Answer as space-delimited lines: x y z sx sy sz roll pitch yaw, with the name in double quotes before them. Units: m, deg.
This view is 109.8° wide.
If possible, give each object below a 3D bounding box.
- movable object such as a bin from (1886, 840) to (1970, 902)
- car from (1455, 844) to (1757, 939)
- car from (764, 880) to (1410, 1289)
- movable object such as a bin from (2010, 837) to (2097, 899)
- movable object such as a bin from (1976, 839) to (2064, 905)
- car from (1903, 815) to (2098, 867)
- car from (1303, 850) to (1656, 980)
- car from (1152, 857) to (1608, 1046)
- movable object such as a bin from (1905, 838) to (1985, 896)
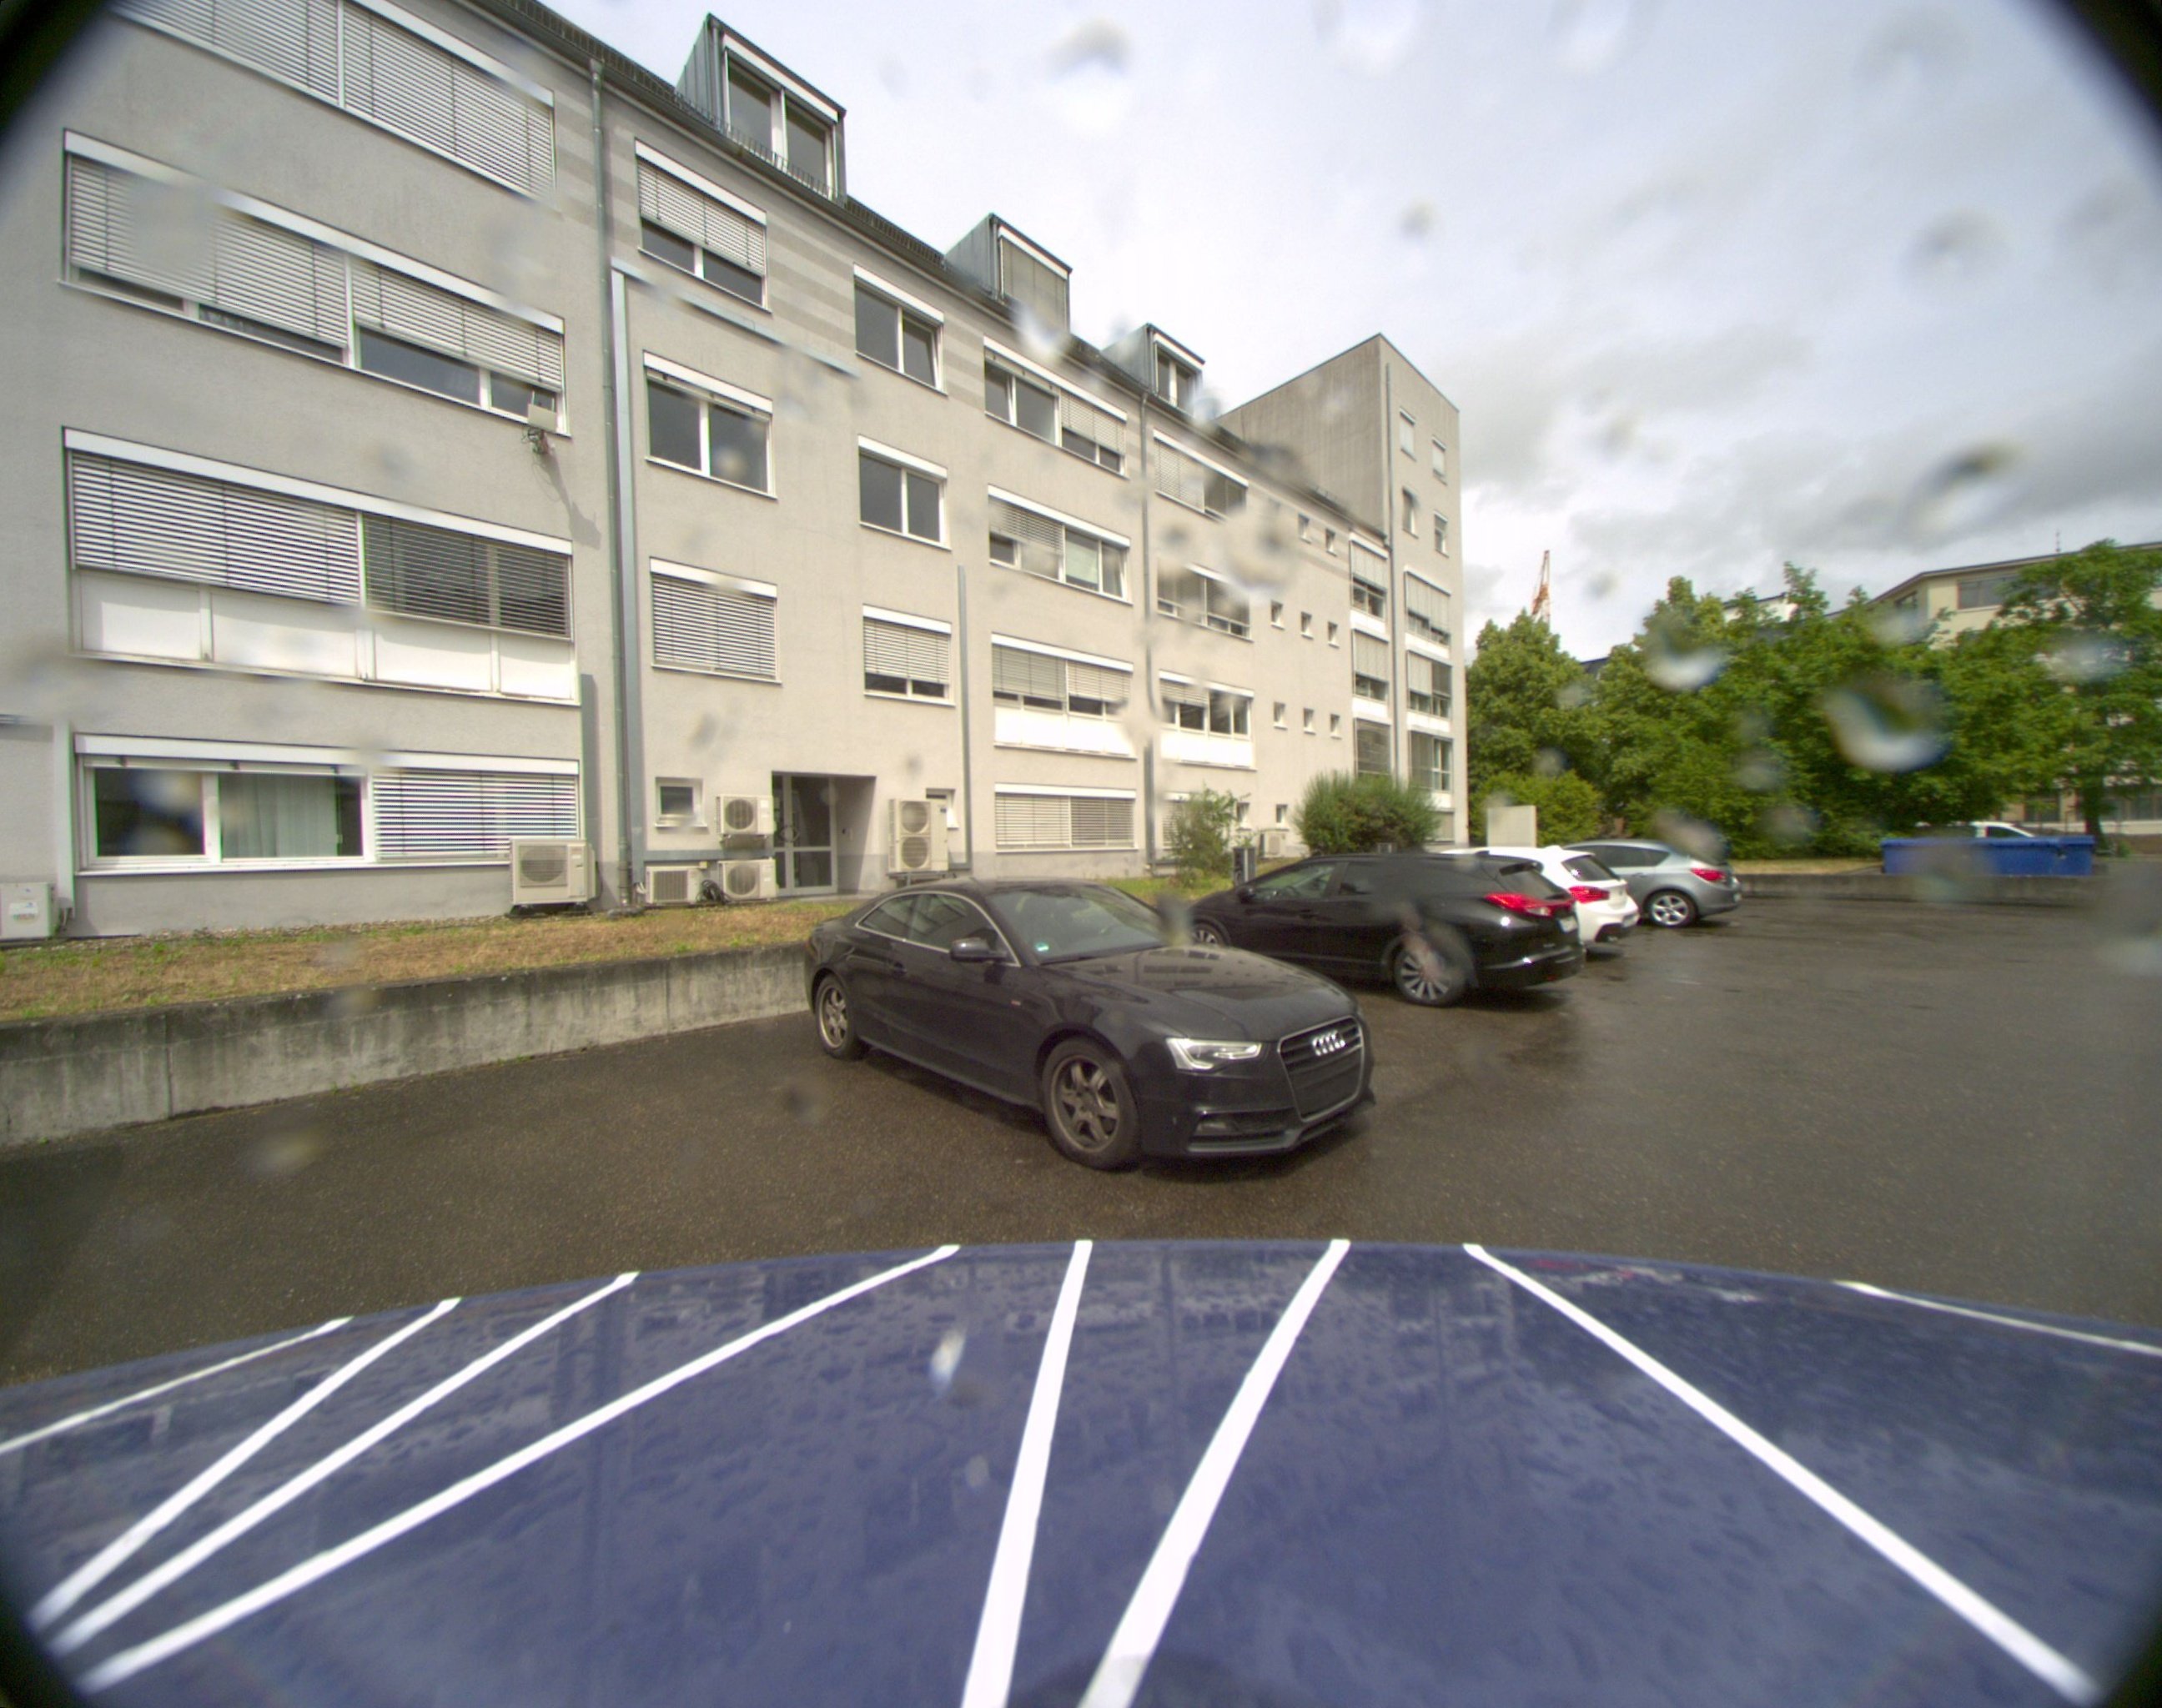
"movable object such as a bin" 19.365 0.364 17.383 1.210 1.321 1.128 -3 1 -34
"car" 9.465 0.566 13.978 1.766 1.434 4.303 -3 2 -44
"car" -0.400 0.973 5.182 1.766 1.344 4.516 -3 2 -43
"movable object such as a bin" 21.845 0.300 17.075 1.210 1.321 1.128 -3 1 -34
"movable object such as a bin" 20.178 0.376 16.334 1.210 1.317 1.093 -3 1 -34
"car" 33.149 -0.432 27.538 1.725 1.717 4.324 -3 1 -32
"car" 5.446 0.688 10.806 1.699 1.434 4.113 -3 2 -42
"car" 3.005 0.806 8.341 1.766 1.434 4.303 -3 2 -44
"movable object such as a bin" 20.810 0.300 18.299 1.210 1.321 1.128 -3 1 -34
